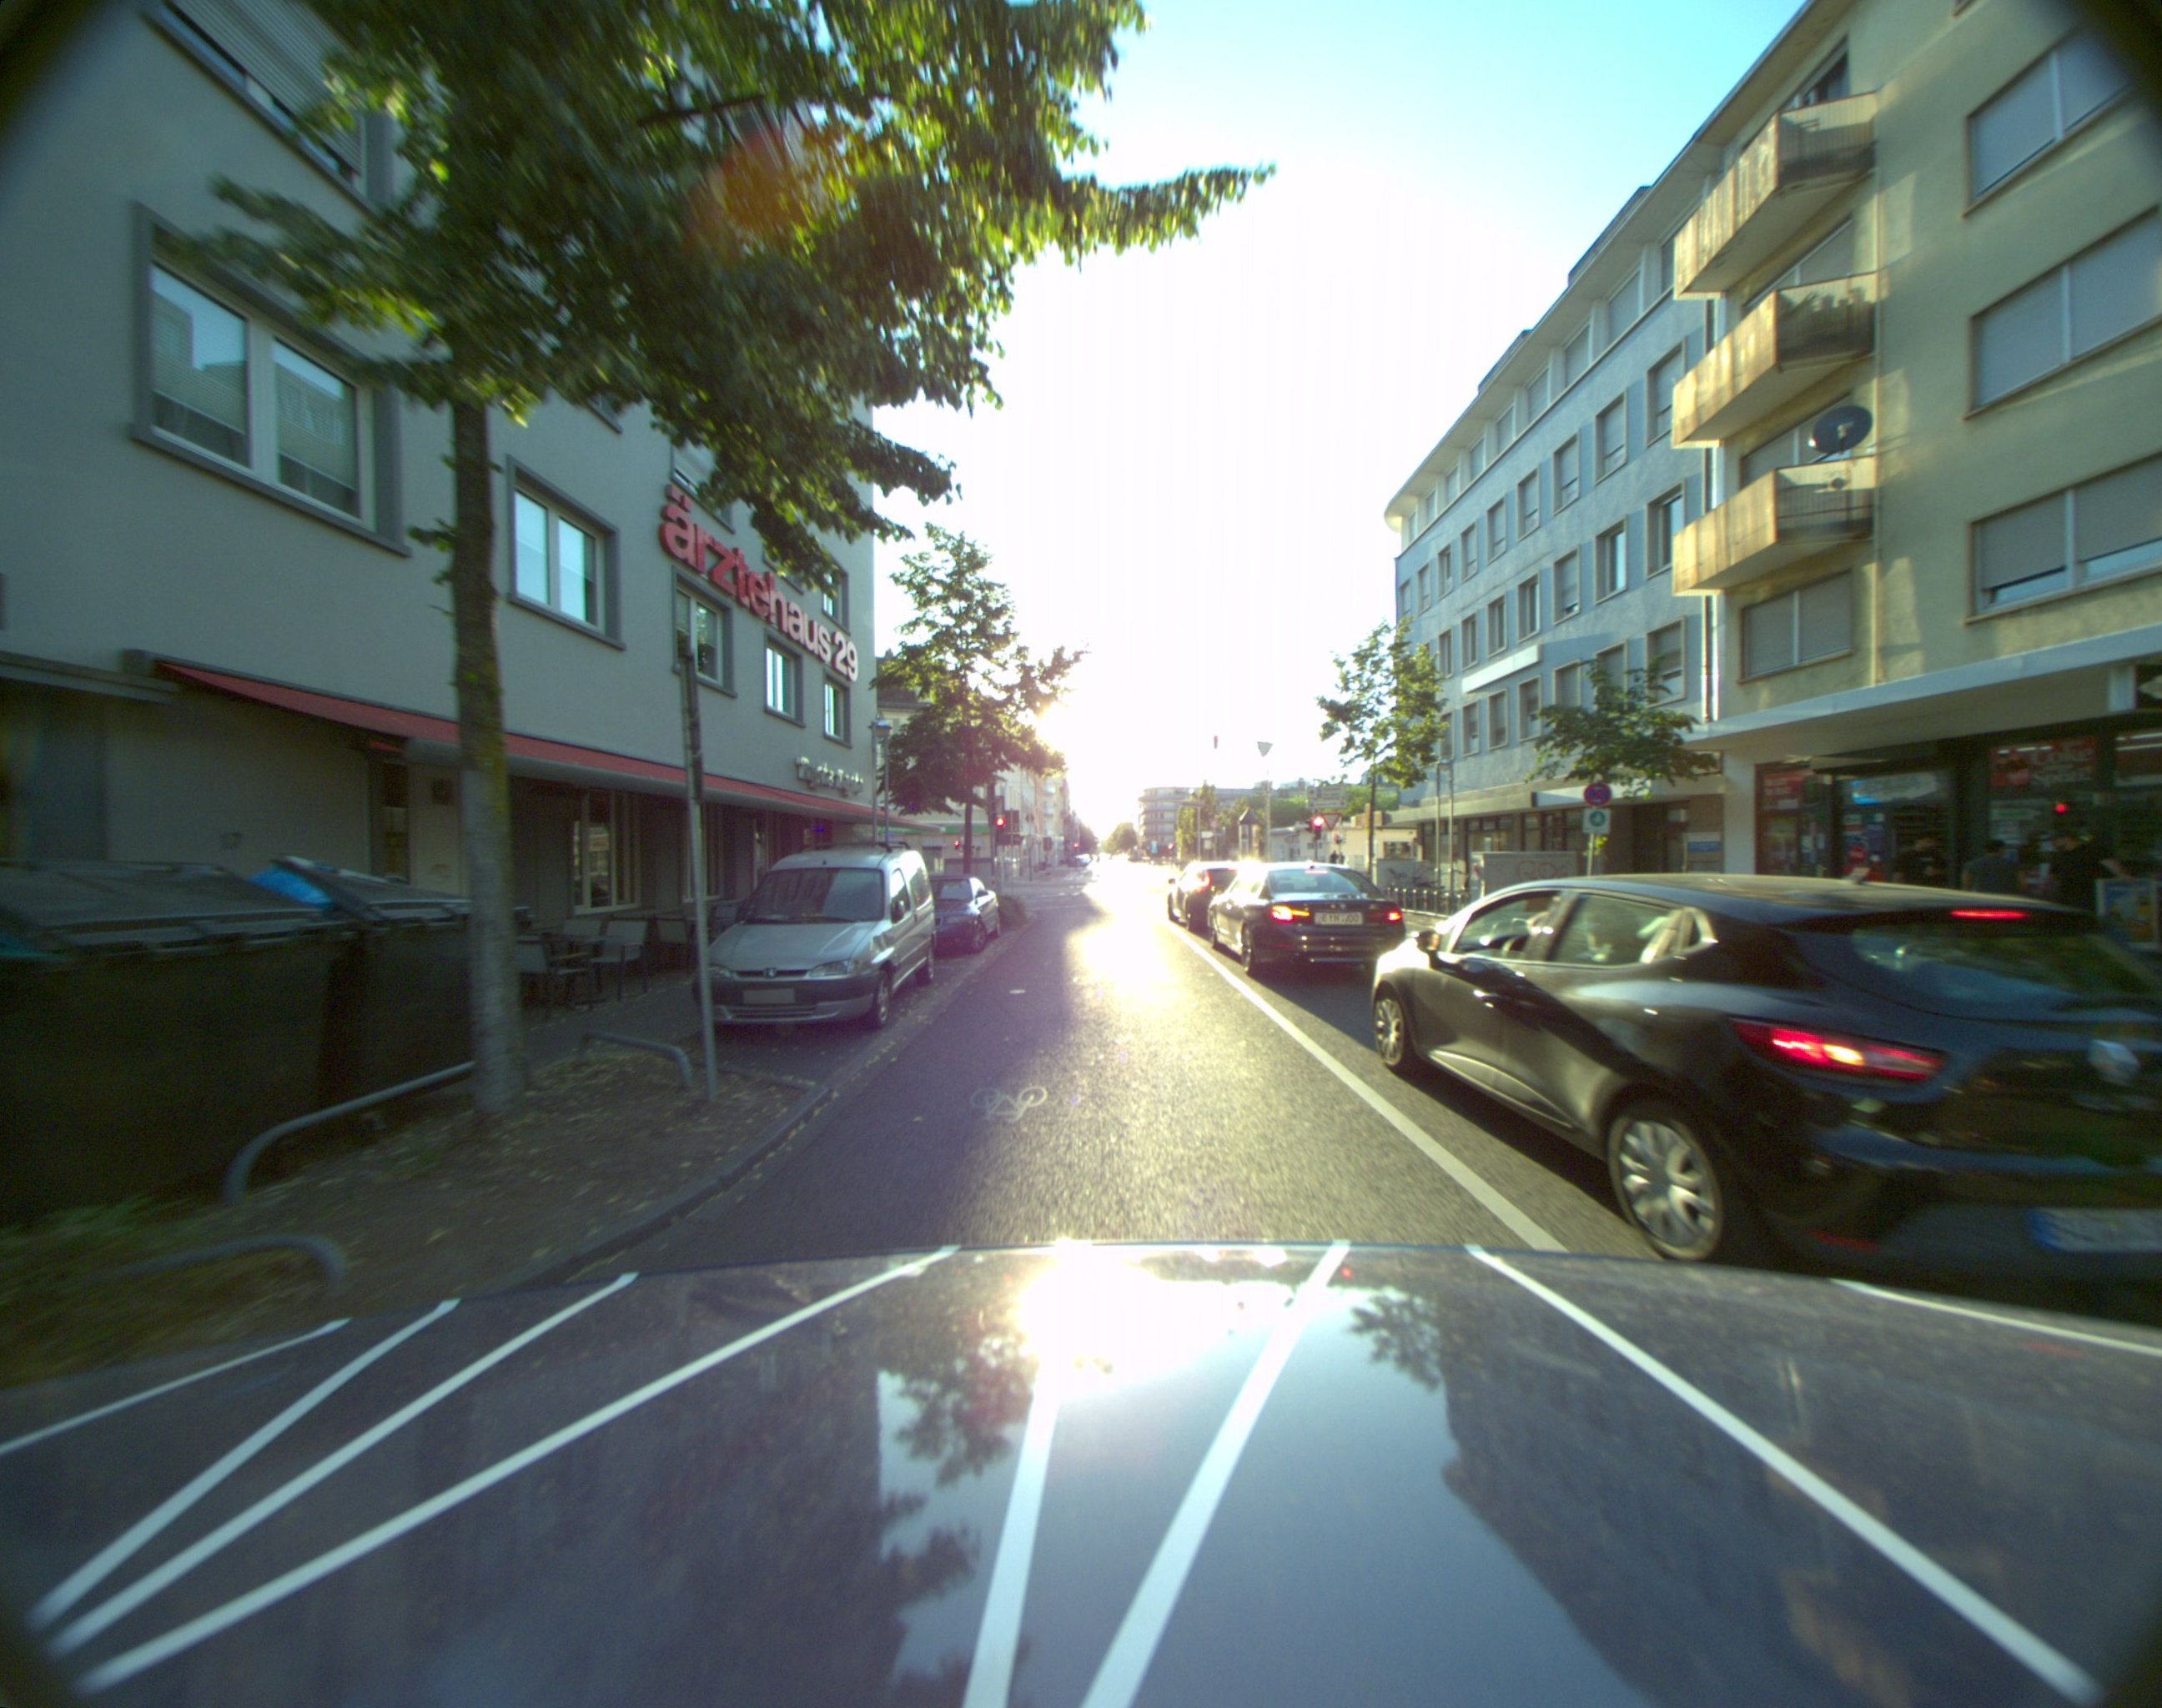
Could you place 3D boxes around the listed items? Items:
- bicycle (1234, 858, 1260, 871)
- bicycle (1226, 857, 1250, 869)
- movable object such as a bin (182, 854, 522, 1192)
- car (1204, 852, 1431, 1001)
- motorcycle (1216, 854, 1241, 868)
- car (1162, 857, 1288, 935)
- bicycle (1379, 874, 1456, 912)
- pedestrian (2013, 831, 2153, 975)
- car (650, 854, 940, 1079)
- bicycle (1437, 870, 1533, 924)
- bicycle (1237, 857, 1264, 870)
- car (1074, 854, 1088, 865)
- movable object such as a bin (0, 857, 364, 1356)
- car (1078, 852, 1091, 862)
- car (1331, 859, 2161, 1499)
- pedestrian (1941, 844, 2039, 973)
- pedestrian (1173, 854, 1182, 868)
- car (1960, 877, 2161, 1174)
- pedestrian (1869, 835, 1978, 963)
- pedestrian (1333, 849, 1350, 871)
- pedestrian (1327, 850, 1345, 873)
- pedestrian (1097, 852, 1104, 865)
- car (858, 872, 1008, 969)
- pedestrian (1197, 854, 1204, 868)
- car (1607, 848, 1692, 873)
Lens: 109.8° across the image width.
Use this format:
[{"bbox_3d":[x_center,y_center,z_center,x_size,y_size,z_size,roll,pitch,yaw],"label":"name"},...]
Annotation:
[{"bbox_3d":[15.248,0.959,69.876,2.221,1.081,0.779,-1,1,-5],"label":"bicycle"},{"bbox_3d":[15.448,0.884,74.668,2.180,1.081,0.779,0,1,1],"label":"bicycle"},{"bbox_3d":[-4.331,0.906,4.663,0.837,1.764,1.205,-2,1,-2],"label":"movable object such as a bin"},{"bbox_3d":[3.059,0.818,10.961,1.951,1.635,4.615,0,1,2],"label":"car"},{"bbox_3d":[15.120,0.717,77.916,2.450,1.358,0.780,-2,0,7],"label":"motorcycle"},{"bbox_3d":[3.123,0.868,17.401,1.963,1.538,4.509,-1,-1,-1],"label":"car"},{"bbox_3d":[9.725,1.113,21.990,2.015,0.986,0.491,-2,1,-3],"label":"bicycle"},{"bbox_3d":[13.030,0.616,9.909,0.742,1.808,0.814,0,0,3],"label":"pedestrian"},{"bbox_3d":[-2.705,0.928,8.217,1.659,1.768,4.011,-2,0,-2],"label":"car"},{"bbox_3d":[9.805,1.031,18.470,2.014,1.212,0.491,-2,1,1],"label":"bicycle"},{"bbox_3d":[15.336,0.871,68.750,2.196,1.081,0.779,-1,1,-5],"label":"bicycle"},{"bbox_3d":[0.033,0.811,116.574,1.999,1.538,4.508,-2,1,0],"label":"car"},{"bbox_3d":[-4.273,0.923,3.363,0.837,1.764,1.353,-2,1,-2],"label":"movable object such as a bin"},{"bbox_3d":[0.593,0.556,127.847,1.998,1.538,4.509,-2,1,2],"label":"car"},{"bbox_3d":[2.913,0.850,4.159,1.728,1.540,4.465,0,1,2],"label":"car"},{"bbox_3d":[12.315,0.705,10.321,0.768,1.666,0.744,-1,1,44],"label":"pedestrian"},{"bbox_3d":[11.648,0.859,91.432,0.905,1.667,0.780,-2,1,13],"label":"pedestrian"},{"bbox_3d":[6.602,0.960,2.578,1.998,1.503,4.509,2,1,1],"label":"car"},{"bbox_3d":[12.536,0.656,11.336,0.769,1.836,0.744,-1,-1,11],"label":"pedestrian"},{"bbox_3d":[20.732,0.483,60.474,0.781,1.667,0.904,-3,2,-33],"label":"pedestrian"},{"bbox_3d":[19.801,0.570,59.058,0.908,1.774,0.879,-3,1,-22],"label":"pedestrian"},{"bbox_3d":[2.623,0.599,100.514,0.842,1.736,0.701,-2,1,0],"label":"pedestrian"},{"bbox_3d":[-2.560,1.113,14.182,1.942,1.368,4.182,-2,0,0],"label":"car"},{"bbox_3d":[13.948,0.806,88.968,0.778,1.667,0.907,-2,1,9],"label":"pedestrian"},{"bbox_3d":[35.911,0.426,47.992,4.613,1.467,2.046,-1,-1,-19],"label":"car"}]
